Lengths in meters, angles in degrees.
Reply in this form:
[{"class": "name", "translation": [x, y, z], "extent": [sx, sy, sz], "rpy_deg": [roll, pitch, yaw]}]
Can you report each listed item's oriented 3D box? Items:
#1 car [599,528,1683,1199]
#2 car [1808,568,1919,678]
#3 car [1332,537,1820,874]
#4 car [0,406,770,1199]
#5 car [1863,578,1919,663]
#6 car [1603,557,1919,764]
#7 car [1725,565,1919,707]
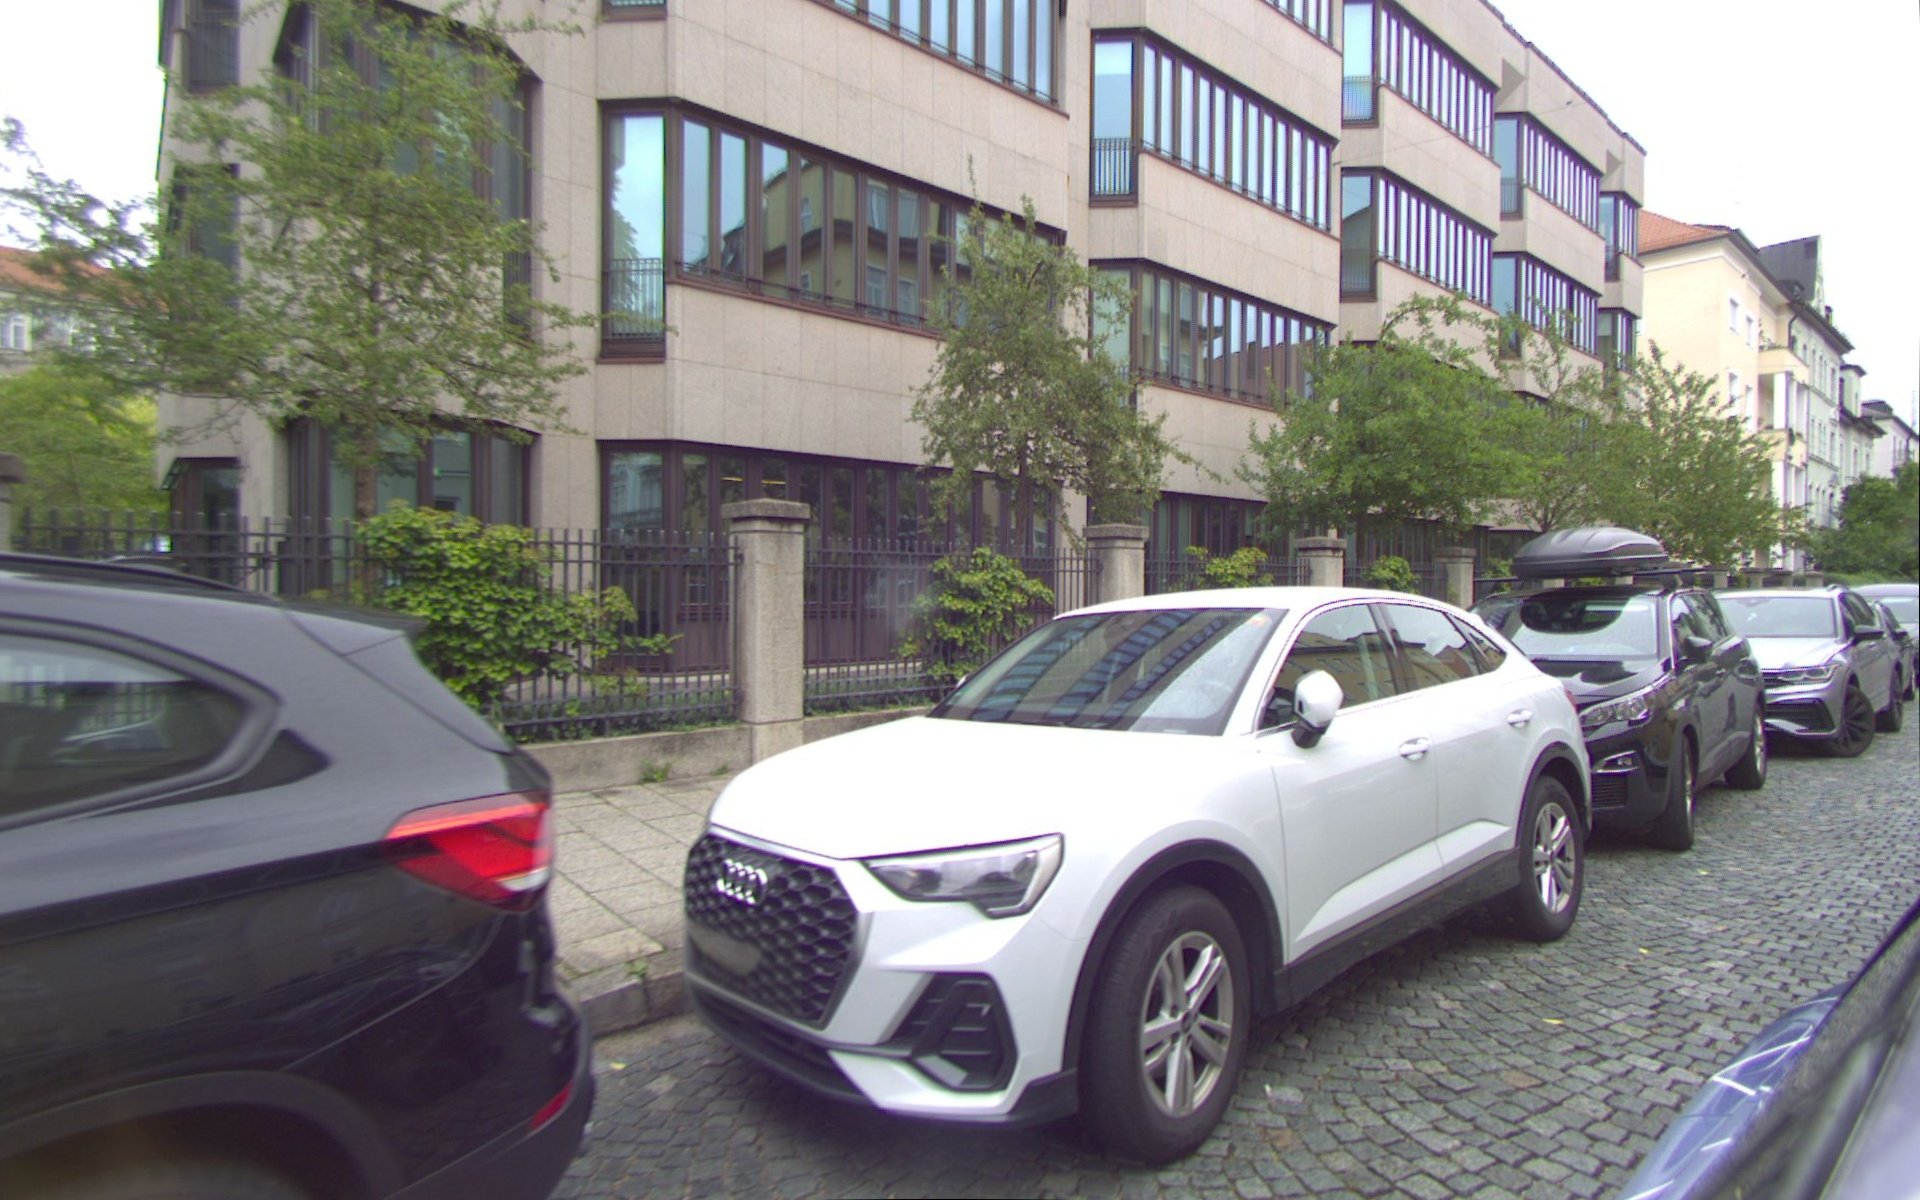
[{"class": "car", "translation": [1.106, 0.640, 4.165], "extent": [4.533, 1.510, 1.877], "rpy_deg": [0, -2, -39]}, {"class": "car", "translation": [17.189, 0.395, 18.589], "extent": [4.433, 1.820, 1.790], "rpy_deg": [0, -3, -42]}, {"class": "car", "translation": [4.824, 0.577, 7.581], "extent": [4.668, 1.757, 1.874], "rpy_deg": [0, -3, -43]}, {"class": "car", "translation": [-2.689, 0.654, 1.080], "extent": [4.576, 1.691, 1.876], "rpy_deg": [-1, -2, -41]}, {"class": "car", "translation": [21.306, 0.393, 21.997], "extent": [4.729, 1.724, 1.863], "rpy_deg": [-1, -2, -41]}, {"class": "car", "translation": [8.865, 0.508, 10.864], "extent": [4.804, 1.757, 1.876], "rpy_deg": [-1, -1, -40]}, {"class": "car", "translation": [12.923, 0.477, 14.776], "extent": [4.579, 1.757, 1.875], "rpy_deg": [0, -3, -42]}]
